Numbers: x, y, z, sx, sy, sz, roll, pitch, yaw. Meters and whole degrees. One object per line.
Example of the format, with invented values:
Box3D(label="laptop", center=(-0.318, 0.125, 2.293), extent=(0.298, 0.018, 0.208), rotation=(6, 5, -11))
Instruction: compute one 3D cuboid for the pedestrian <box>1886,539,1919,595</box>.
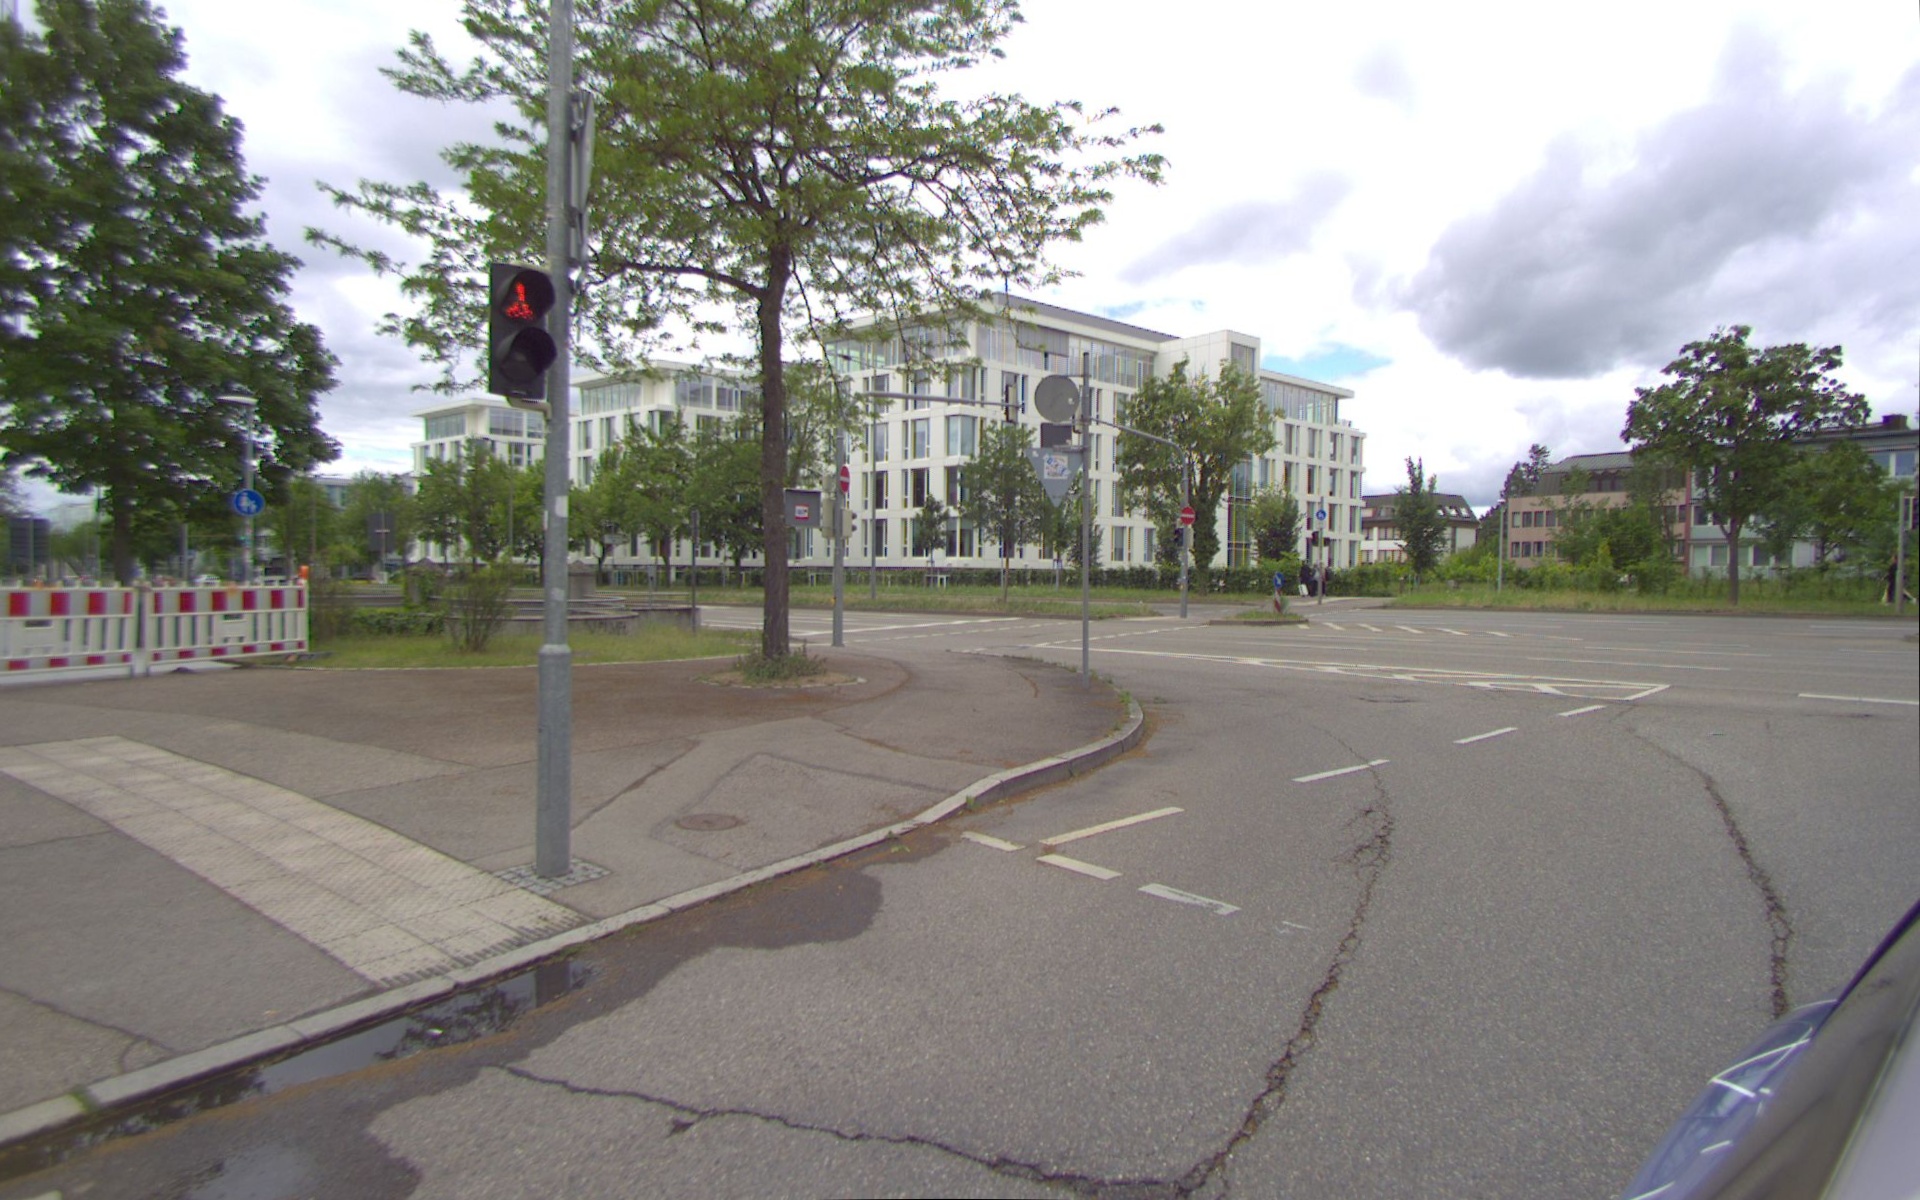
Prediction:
Box3D(label="pedestrian", center=(29.881, -1.030, 31.817), extent=(0.996, 1.717, 0.601), rotation=(-1, -1, 33))

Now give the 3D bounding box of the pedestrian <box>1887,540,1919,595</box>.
Box3D(label="pedestrian", center=(30.244, -1.023, 32.322), extent=(0.826, 1.717, 0.609), rotation=(-1, -1, 33))

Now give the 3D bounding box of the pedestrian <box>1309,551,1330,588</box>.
Box3D(label="pedestrian", center=(16.293, -1.374, 45.845), extent=(0.554, 1.647, 0.709), rotation=(0, -1, -18))

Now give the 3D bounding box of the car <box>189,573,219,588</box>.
Box3D(label="car", center=(-88.878, -2.252, 118.935), extent=(3.862, 1.695, 1.852), rotation=(-1, -1, 36))

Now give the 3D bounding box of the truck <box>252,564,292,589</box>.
Box3D(label="truck", center=(-72.687, -2.446, 106.874), extent=(4.569, 2.407, 2.525), rotation=(-1, -1, 42))

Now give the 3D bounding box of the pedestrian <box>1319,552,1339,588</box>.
Box3D(label="pedestrian", center=(16.884, -1.362, 46.324), extent=(0.676, 1.647, 0.660), rotation=(-1, -1, 8))

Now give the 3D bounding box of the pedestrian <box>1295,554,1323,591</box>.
Box3D(label="pedestrian", center=(15.640, -1.220, 45.390), extent=(0.718, 1.647, 1.037), rotation=(0, -1, -17))
